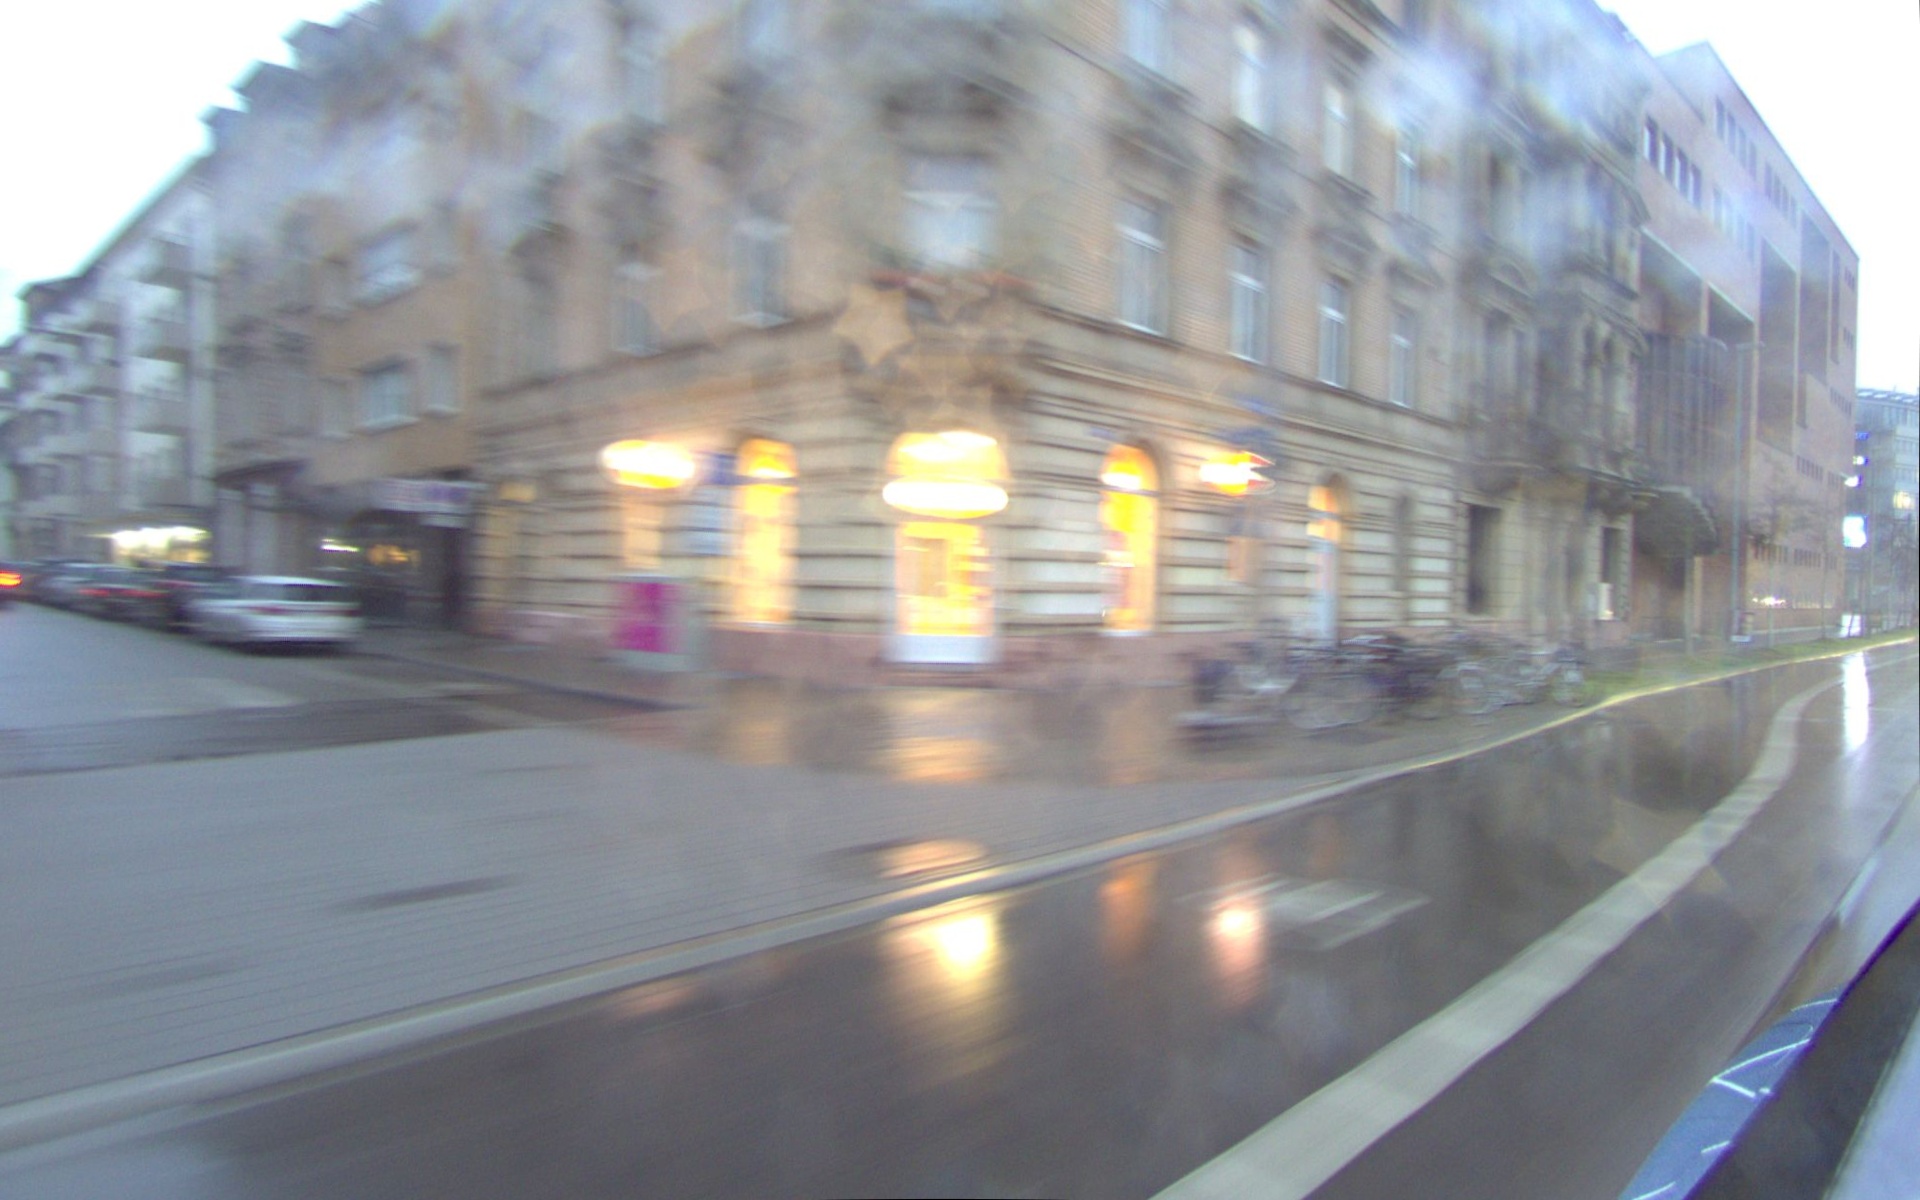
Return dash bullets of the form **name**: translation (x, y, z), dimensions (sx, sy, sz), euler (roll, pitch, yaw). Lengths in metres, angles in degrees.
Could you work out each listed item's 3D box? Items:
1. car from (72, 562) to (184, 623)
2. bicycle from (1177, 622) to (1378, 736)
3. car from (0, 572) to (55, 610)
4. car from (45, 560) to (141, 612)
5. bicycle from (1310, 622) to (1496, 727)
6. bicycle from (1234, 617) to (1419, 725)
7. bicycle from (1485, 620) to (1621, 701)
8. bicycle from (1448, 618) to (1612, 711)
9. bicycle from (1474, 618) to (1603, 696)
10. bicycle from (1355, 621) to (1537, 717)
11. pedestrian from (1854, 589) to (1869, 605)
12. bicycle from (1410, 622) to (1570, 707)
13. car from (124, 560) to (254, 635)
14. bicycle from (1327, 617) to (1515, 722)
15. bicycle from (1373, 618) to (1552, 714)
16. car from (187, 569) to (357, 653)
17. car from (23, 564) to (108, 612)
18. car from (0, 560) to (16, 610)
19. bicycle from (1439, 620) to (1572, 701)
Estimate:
- **car**: translation (-23.238, -0.250, 28.199), dimensions (4.263, 1.535, 1.775), euler (2, 2, 42)
- **bicycle**: translation (3.503, 0.840, 11.232), dimensions (2.071, 1.065, 0.475), euler (3, 2, 24)
- **car**: translation (-40.257, -0.415, 43.434), dimensions (4.265, 1.535, 1.774), euler (2, 2, 43)
- **car**: translation (-27.753, -0.474, 32.336), dimensions (4.263, 1.535, 1.775), euler (2, 2, 42)
- **bicycle**: translation (5.487, 0.879, 12.664), dimensions (0.470, 1.065, 2.091), euler (0, 3, -42)
- **bicycle**: translation (4.346, 0.807, 12.169), dimensions (0.470, 1.065, 2.091), euler (0, 2, -42)
- **bicycle**: translation (9.046, 0.894, 15.504), dimensions (0.365, 1.068, 1.733), euler (0, 2, -42)
- **bicycle**: translation (8.279, 0.902, 14.789), dimensions (0.418, 1.108, 2.012), euler (0, 4, -42)
- **bicycle**: translation (9.170, 0.875, 16.110), dimensions (0.365, 1.068, 1.733), euler (0, 2, -42)
- **bicycle**: translation (6.453, 0.879, 13.561), dimensions (0.476, 1.068, 2.148), euler (0, 2, -42)
- **pedestrian**: translation (101.920, -0.331, 114.393), dimensions (1.147, 1.809, 0.766), euler (2, 1, 40)
- **bicycle**: translation (7.691, 0.911, 14.780), dimensions (0.418, 0.982, 2.012), euler (0, 4, -42)
- **car**: translation (-18.827, -0.118, 24.662), dimensions (4.098, 1.641, 1.775), euler (2, 2, 42)
- **bicycle**: translation (5.847, 0.849, 12.982), dimensions (0.418, 1.068, 2.148), euler (2, 3, -42)
- **bicycle**: translation (6.864, 0.866, 13.943), dimensions (0.418, 1.068, 2.148), euler (2, 2, -42)
- **car**: translation (-13.660, 0.158, 20.006), dimensions (4.177, 1.438, 1.824), euler (2, 2, 42)
- **car**: translation (-31.813, -0.455, 35.963), dimensions (4.263, 1.535, 1.775), euler (2, 2, 42)
- **car**: translation (-31.686, -0.527, 32.348), dimensions (4.265, 1.535, 1.923), euler (2, 2, 43)
- **bicycle**: translation (8.261, 0.887, 15.382), dimensions (0.365, 1.068, 1.733), euler (0, 2, -42)
